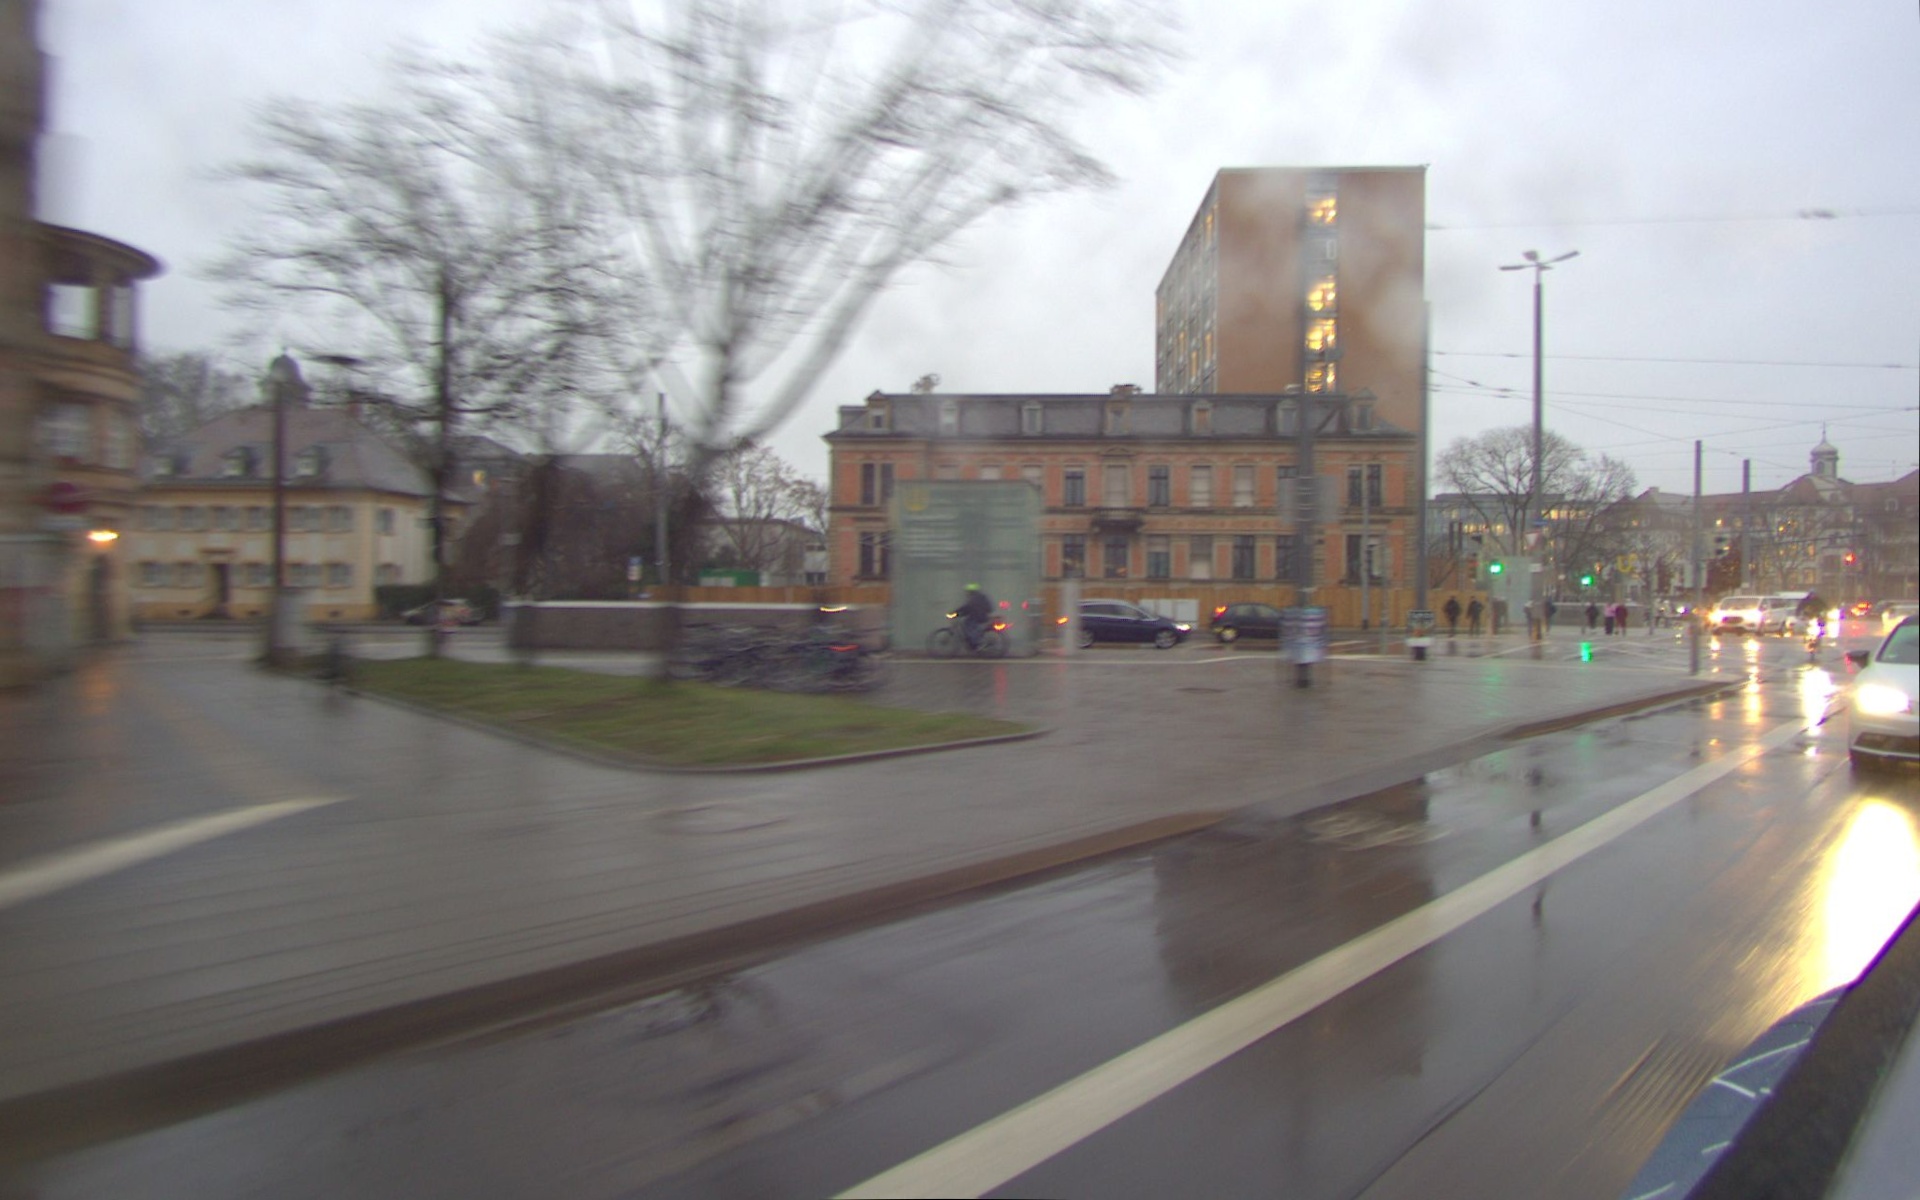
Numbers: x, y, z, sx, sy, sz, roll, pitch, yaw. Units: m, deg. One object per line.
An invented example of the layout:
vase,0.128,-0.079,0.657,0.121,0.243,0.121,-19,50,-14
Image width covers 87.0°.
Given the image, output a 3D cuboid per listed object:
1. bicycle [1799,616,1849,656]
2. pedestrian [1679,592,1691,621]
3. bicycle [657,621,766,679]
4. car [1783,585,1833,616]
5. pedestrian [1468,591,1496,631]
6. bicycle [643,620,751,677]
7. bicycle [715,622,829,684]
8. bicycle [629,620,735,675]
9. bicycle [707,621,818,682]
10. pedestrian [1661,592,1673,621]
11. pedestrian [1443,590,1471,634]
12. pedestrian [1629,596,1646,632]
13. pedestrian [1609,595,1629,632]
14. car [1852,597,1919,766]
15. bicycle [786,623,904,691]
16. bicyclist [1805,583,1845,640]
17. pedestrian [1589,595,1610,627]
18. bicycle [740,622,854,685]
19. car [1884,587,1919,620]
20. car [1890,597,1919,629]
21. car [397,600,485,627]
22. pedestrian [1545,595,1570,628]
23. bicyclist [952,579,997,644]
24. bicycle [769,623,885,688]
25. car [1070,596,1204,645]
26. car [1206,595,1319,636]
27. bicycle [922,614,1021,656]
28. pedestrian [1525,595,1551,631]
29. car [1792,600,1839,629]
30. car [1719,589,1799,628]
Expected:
bicycle,23.815,0.972,27.886,2.173,1.003,0.725,0,0,-40
pedestrian,45.591,0.413,63.638,0.634,1.784,0.504,0,0,35
bicycle,-4.437,0.867,18.155,1.910,0.965,0.455,0,0,-41
car,53.098,0.005,63.418,2.006,1.842,3.643,0,0,34
pedestrian,22.646,0.466,43.892,0.734,1.697,0.820,0,0,-32
bicycle,-4.791,0.869,18.552,1.910,0.965,0.455,0,0,-41
bicycle,-3.136,0.864,17.035,1.910,0.965,0.455,0,0,-41
bicycle,-5.174,0.868,18.923,1.910,0.965,0.455,0,0,-41
bicycle,-3.400,0.865,17.527,1.910,0.965,0.455,0,0,-41
pedestrian,44.810,0.416,64.172,0.634,1.784,0.504,0,0,35
pedestrian,18.636,0.447,37.935,0.808,1.640,0.745,0,0,15
pedestrian,33.911,0.692,50.650,0.503,1.784,0.635,0,0,14
pedestrian,33.491,0.665,51.445,0.640,1.845,0.635,0,0,14
car,10.022,0.698,9.649,3.930,1.441,1.796,0,0,-41
bicycle,-1.763,0.860,15.799,1.910,0.965,0.455,0,0,-41
bicyclist,23.900,0.303,27.963,0.771,1.553,0.727,0,0,-40
pedestrian,32.929,0.573,52.138,0.699,1.640,0.745,0,0,14
bicycle,-2.670,0.861,16.765,1.910,0.965,0.455,0,0,-41
car,60.470,0.202,64.439,1.989,2.039,5.477,0,0,38
car,49.650,0.644,52.102,1.811,1.594,3.955,0,0,31
car,-27.054,0.676,52.840,3.712,1.318,1.836,0,0,5
pedestrian,29.767,0.573,50.405,0.866,1.640,0.745,0,0,14
bicyclist,0.335,0.253,23.089,0.990,1.460,0.591,0,0,6
bicycle,-2.110,0.862,16.211,1.910,0.965,0.455,0,0,-41
car,5.922,0.664,34.339,4.311,1.608,1.888,0,0,6
car,10.955,0.548,36.830,3.686,1.419,1.615,-1,0,8
bicycle,0.273,0.787,23.094,2.201,0.918,0.599,0,0,6
pedestrian,26.817,0.602,46.997,0.866,1.640,0.745,0,0,14
car,47.367,0.758,56.090,1.819,1.527,3.752,0,0,38
car,39.411,0.383,49.884,4.781,1.861,1.999,0,0,-37
